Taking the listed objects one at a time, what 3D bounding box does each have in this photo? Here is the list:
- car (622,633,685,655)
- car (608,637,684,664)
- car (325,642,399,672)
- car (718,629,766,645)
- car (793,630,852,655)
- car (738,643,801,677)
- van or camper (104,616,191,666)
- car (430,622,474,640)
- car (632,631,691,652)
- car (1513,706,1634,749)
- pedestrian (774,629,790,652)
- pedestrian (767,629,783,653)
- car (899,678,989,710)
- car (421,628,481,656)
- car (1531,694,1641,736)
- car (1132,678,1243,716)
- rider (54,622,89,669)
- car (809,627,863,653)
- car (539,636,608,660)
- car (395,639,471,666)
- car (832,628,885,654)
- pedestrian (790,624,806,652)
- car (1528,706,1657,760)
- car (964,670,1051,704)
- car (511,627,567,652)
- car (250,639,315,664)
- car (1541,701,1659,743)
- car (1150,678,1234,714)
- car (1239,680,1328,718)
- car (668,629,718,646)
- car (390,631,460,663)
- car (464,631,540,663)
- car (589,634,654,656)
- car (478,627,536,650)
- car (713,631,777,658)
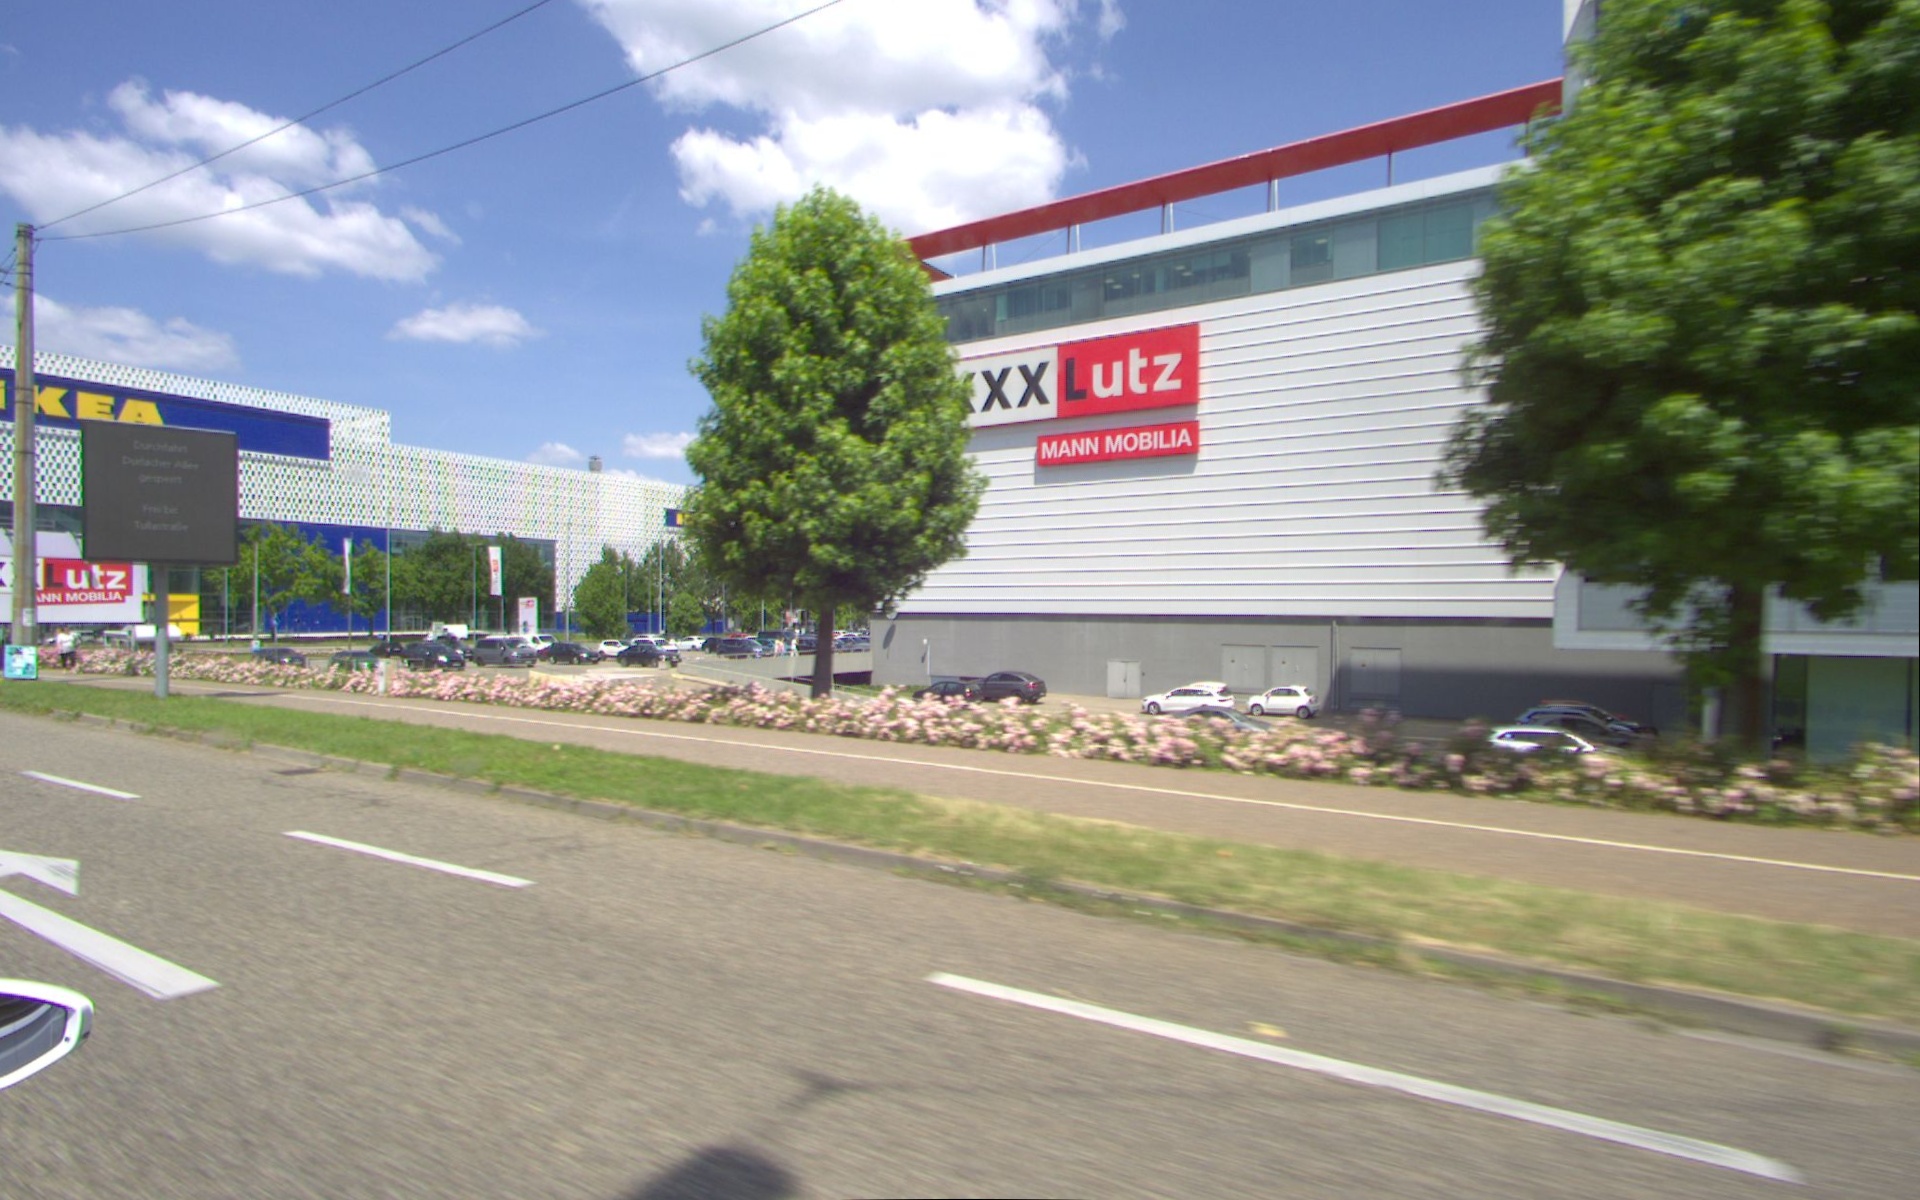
[{"bbox_3d":[-23.818,3.395,77.760,4.929,1.671,1.991,-1,-2,32],"label":"car"},{"bbox_3d":[-20.284,3.217,64.653,4.929,1.631,1.991,-1,-2,32],"label":"car"},{"bbox_3d":[-35.036,3.324,58.679,4.241,1.517,1.989,-1,1,32],"label":"car"},{"bbox_3d":[-23.243,3.979,106.668,4.929,1.631,1.991,-1,-2,32],"label":"car"},{"bbox_3d":[-10.659,3.269,77.563,4.270,1.803,1.992,0,-3,32],"label":"car"},{"bbox_3d":[-13.861,4.353,72.993,4.270,2.357,1.991,0,-2,32],"label":"car"},{"bbox_3d":[-52.103,2.568,64.180,7.127,3.058,2.500,-1,-2,36],"label":"van or camper"},{"bbox_3d":[-67.064,4.113,132.195,1.976,2.338,4.740,-1,-2,39],"label":"car"},{"bbox_3d":[-25.154,3.477,84.221,4.929,1.631,1.991,-1,-2,32],"label":"car"},{"bbox_3d":[23.860,4.935,39.085,3.942,1.338,1.603,-1,-2,32],"label":"car"},{"bbox_3d":[-12.126,2.751,68.232,0.725,1.577,0.740,0,-2,30],"label":"pedestrian"},{"bbox_3d":[-12.383,2.730,67.159,0.725,1.577,0.740,0,-2,30],"label":"pedestrian"},{"bbox_3d":[-0.852,4.881,52.446,4.287,1.416,1.992,-1,-2,30],"label":"car"},{"bbox_3d":[-40.474,3.301,79.649,4.929,2.161,1.991,-1,-2,32],"label":"car"},{"bbox_3d":[26.916,4.921,43.200,3.942,1.465,1.991,-1,-2,32],"label":"car"},{"bbox_3d":[11.330,4.804,50.080,5.072,1.632,1.991,-1,-2,32],"label":"car"},{"bbox_3d":[-28.294,1.441,31.891,0.609,1.476,0.668,0,-1,31],"label":"rider"},{"bbox_3d":[-9.944,3.222,80.208,3.942,2.039,1.991,-1,-2,32],"label":"car"},{"bbox_3d":[-27.433,3.374,71.044,4.929,1.631,1.991,-1,-2,32],"label":"car"},{"bbox_3d":[-33.094,3.279,62.868,4.929,1.570,1.991,-1,-2,32],"label":"car"},{"bbox_3d":[-8.311,3.344,82.267,3.942,2.039,1.991,-1,-2,32],"label":"car"},{"bbox_3d":[-10.921,2.563,67.434,0.725,1.893,0.740,0,-1,30],"label":"pedestrian"},{"bbox_3d":[23.244,4.850,36.945,3.942,1.632,1.991,-1,-2,32],"label":"car"},{"bbox_3d":[2.645,4.833,55.979,4.523,1.632,1.991,-1,-2,32],"label":"car"},{"bbox_3d":[-36.074,3.398,85.742,4.929,2.032,1.991,-1,-2,32],"label":"car"},{"bbox_3d":[-46.629,3.542,68.880,4.700,1.557,1.990,-1,0,32],"label":"car"},{"bbox_3d":[25.816,4.895,40.515,3.942,1.403,1.641,-1,-2,32],"label":"car"},{"bbox_3d":[12.180,5.016,52.605,3.942,1.632,1.991,-1,-2,32],"label":"car"},{"bbox_3d":[16.173,4.918,50.099,3.942,1.632,1.991,-1,-2,32],"label":"car"},{"bbox_3d":[-26.750,3.704,100.161,4.929,1.631,1.991,-1,-2,32],"label":"car"},{"bbox_3d":[-36.290,3.176,67.907,4.929,2.040,1.990,-1,0,32],"label":"car"},{"bbox_3d":[-30.671,3.147,67.018,5.455,2.039,1.991,-1,-2,32],"label":"car"},{"bbox_3d":[-25.587,3.381,75.575,4.929,1.631,1.991,-1,-2,32],"label":"car"},{"bbox_3d":[-37.952,3.218,83.904,4.929,1.876,1.991,-1,-2,32],"label":"car"},{"bbox_3d":[-15.181,3.133,70.693,4.270,1.803,1.991,-1,-3,32],"label":"car"}]
